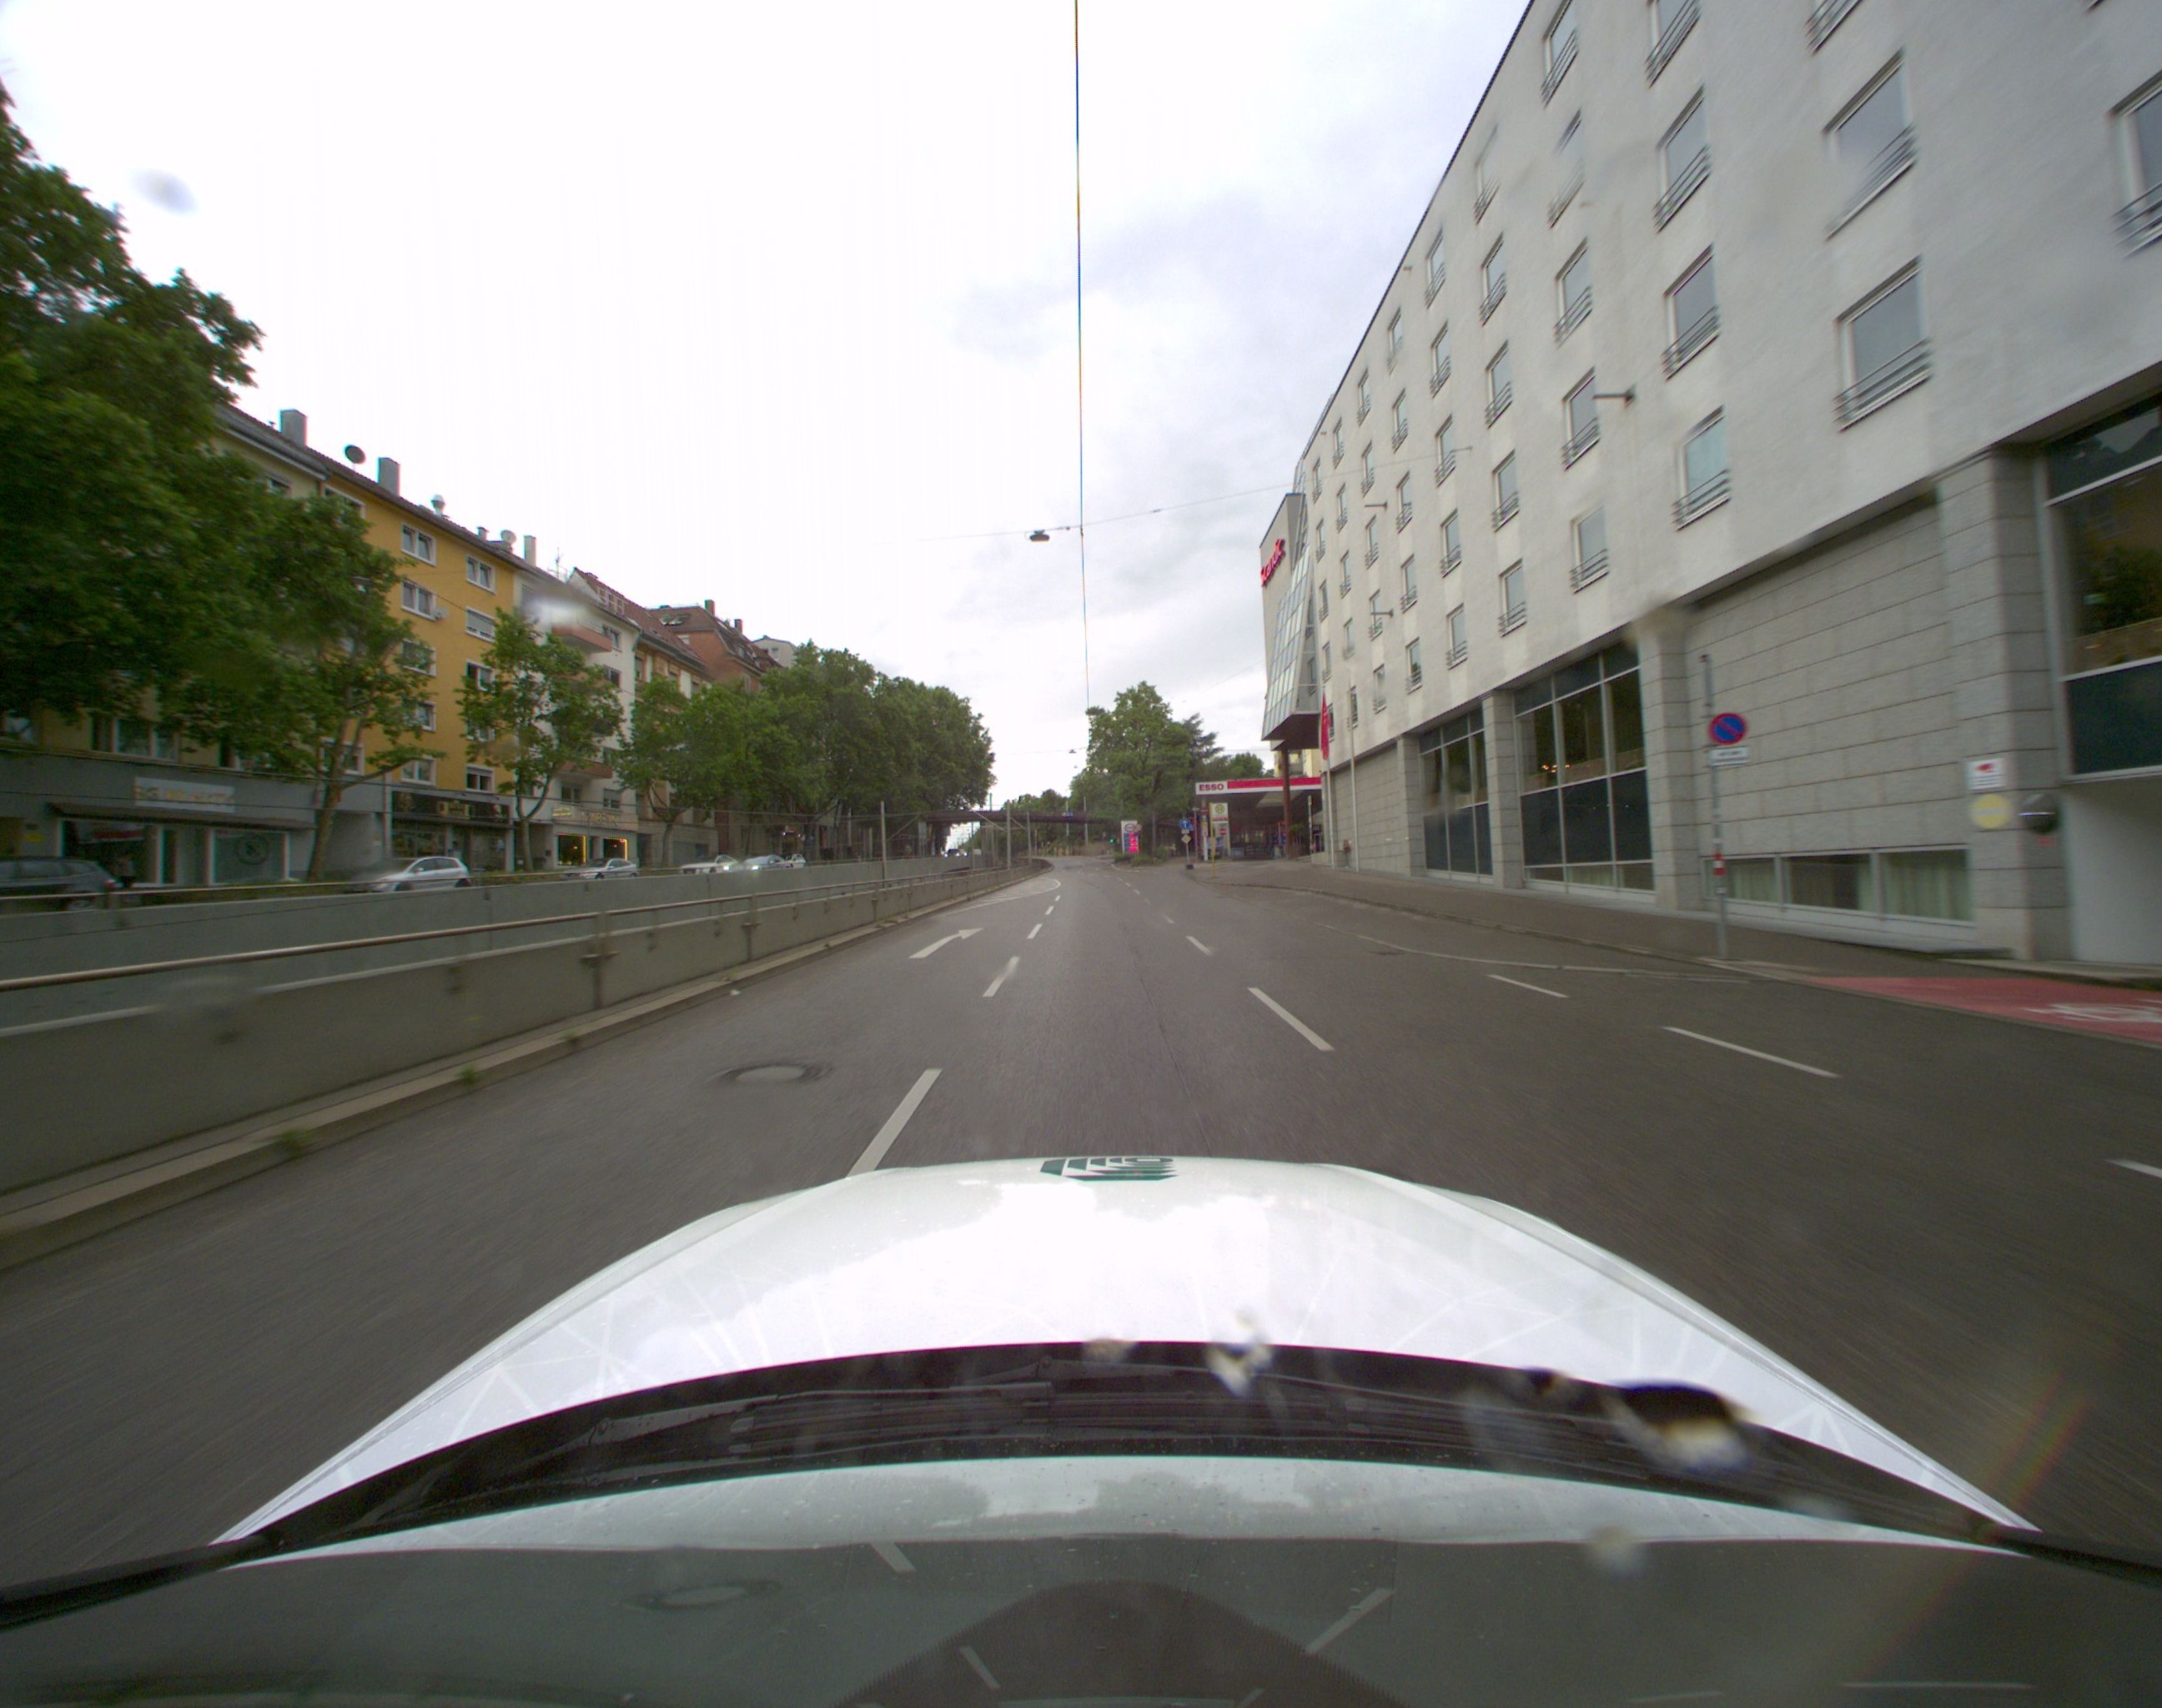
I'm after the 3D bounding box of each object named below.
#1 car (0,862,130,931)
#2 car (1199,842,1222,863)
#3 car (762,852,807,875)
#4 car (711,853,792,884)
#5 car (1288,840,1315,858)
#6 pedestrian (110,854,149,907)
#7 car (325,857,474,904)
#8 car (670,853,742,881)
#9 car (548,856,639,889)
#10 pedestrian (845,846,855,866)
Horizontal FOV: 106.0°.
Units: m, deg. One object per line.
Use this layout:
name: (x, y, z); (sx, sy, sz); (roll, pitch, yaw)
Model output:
car: (-25.191, 0.981, 18.410); (1.787, 1.510, 4.675); (-1, 0, 2)
car: (10.961, -0.117, 68.728); (1.761, 1.623, 3.877); (-4, -1, 10)
car: (-22.511, 0.699, 61.954); (1.787, 1.611, 4.114); (-1, 0, 2)
car: (-17.175, 0.705, 42.764); (2.018, 1.510, 4.887); (-1, 0, 3)
car: (19.315, -0.432, 71.487); (1.784, 1.510, 4.008); (0, -1, 8)
pedestrian: (-32.195, 0.882, 27.561); (0.520, 1.748, 0.623); (1, 0, 10)
car: (-24.844, 0.911, 29.903); (1.787, 1.571, 4.211); (-1, 0, 3)
car: (-23.275, 0.772, 50.797); (1.919, 1.601, 5.202); (-1, 0, 2)
car: (-23.965, 0.887, 40.228); (1.787, 1.510, 4.211); (-1, 0, 3)
pedestrian: (-24.034, 0.197, 84.705); (0.666, 2.014, 0.936); (0, -1, 4)
